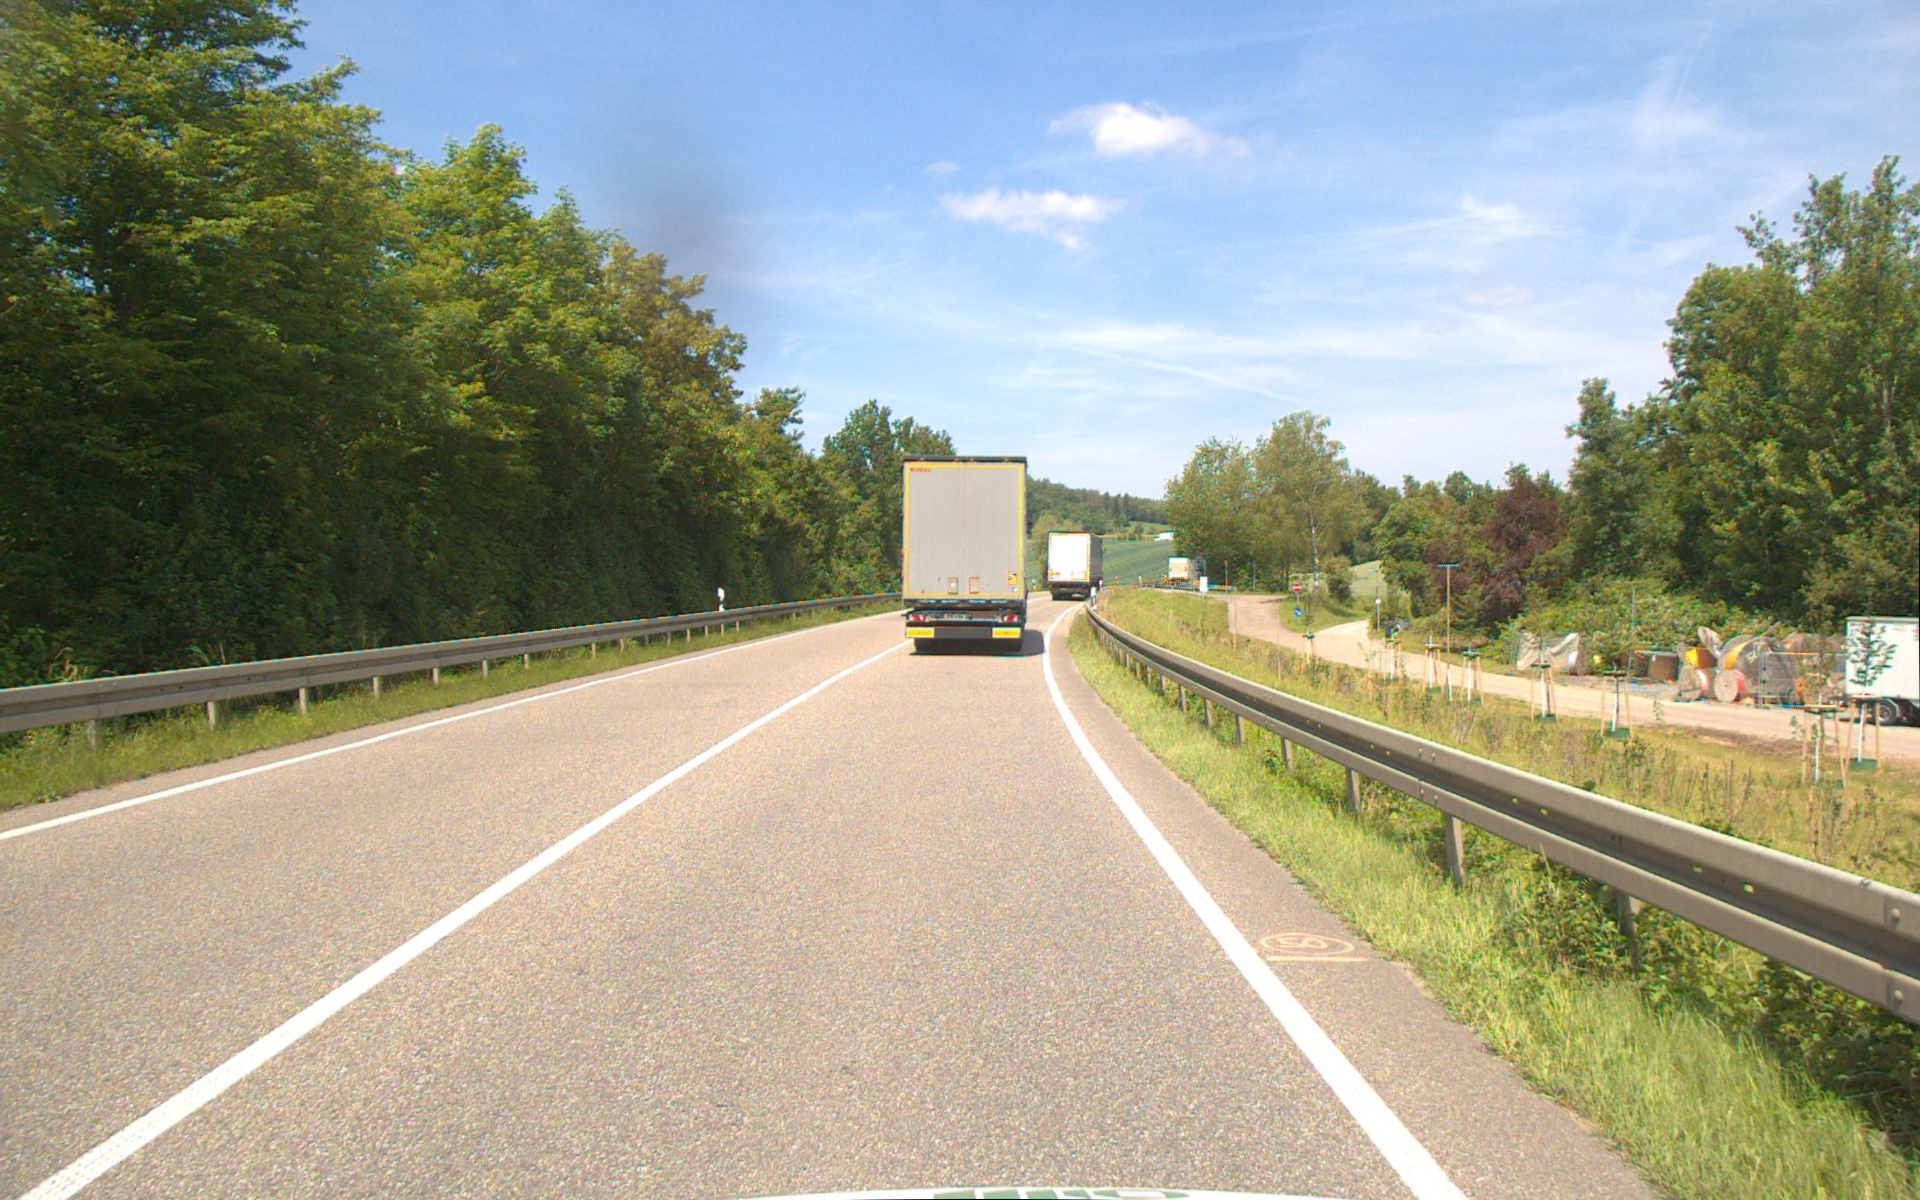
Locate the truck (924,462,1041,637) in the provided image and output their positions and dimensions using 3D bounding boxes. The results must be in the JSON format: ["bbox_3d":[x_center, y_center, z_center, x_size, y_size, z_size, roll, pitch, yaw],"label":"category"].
[{"bbox_3d":[0.742,-1.376,46.666,3.053,4.573,6.814,0,1,3],"label":"truck"}]

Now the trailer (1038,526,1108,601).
[{"bbox_3d":[7.311,-2.138,104.682,3.293,4.392,13.875,0,0,9],"label":"trailer"}]

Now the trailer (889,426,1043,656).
[{"bbox_3d":[0.443,-1.273,39.934,3.053,4.578,13.892,0,1,3],"label":"trailer"}]

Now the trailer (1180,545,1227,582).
[{"bbox_3d":[30.756,-4.522,208.404,3.572,4.337,12.198,0,0,19],"label":"trailer"}]

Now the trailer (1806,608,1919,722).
[{"bbox_3d":[31.376,2.038,49.018,2.689,3.386,11.779,0,1,-29],"label":"trailer"}]

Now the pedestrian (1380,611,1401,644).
[{"bbox_3d":[24.946,1.585,95.899,0.867,1.842,0.959,-3,1,-1],"label":"pedestrian"}]

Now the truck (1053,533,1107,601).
[{"bbox_3d":[8.133,-2.133,111.100,3.293,4.392,6.745,0,0,7],"label":"truck"}]

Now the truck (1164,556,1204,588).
[{"bbox_3d":[25.427,-3.076,187.255,3.154,3.424,11.884,0,0,14],"label":"truck"}]
